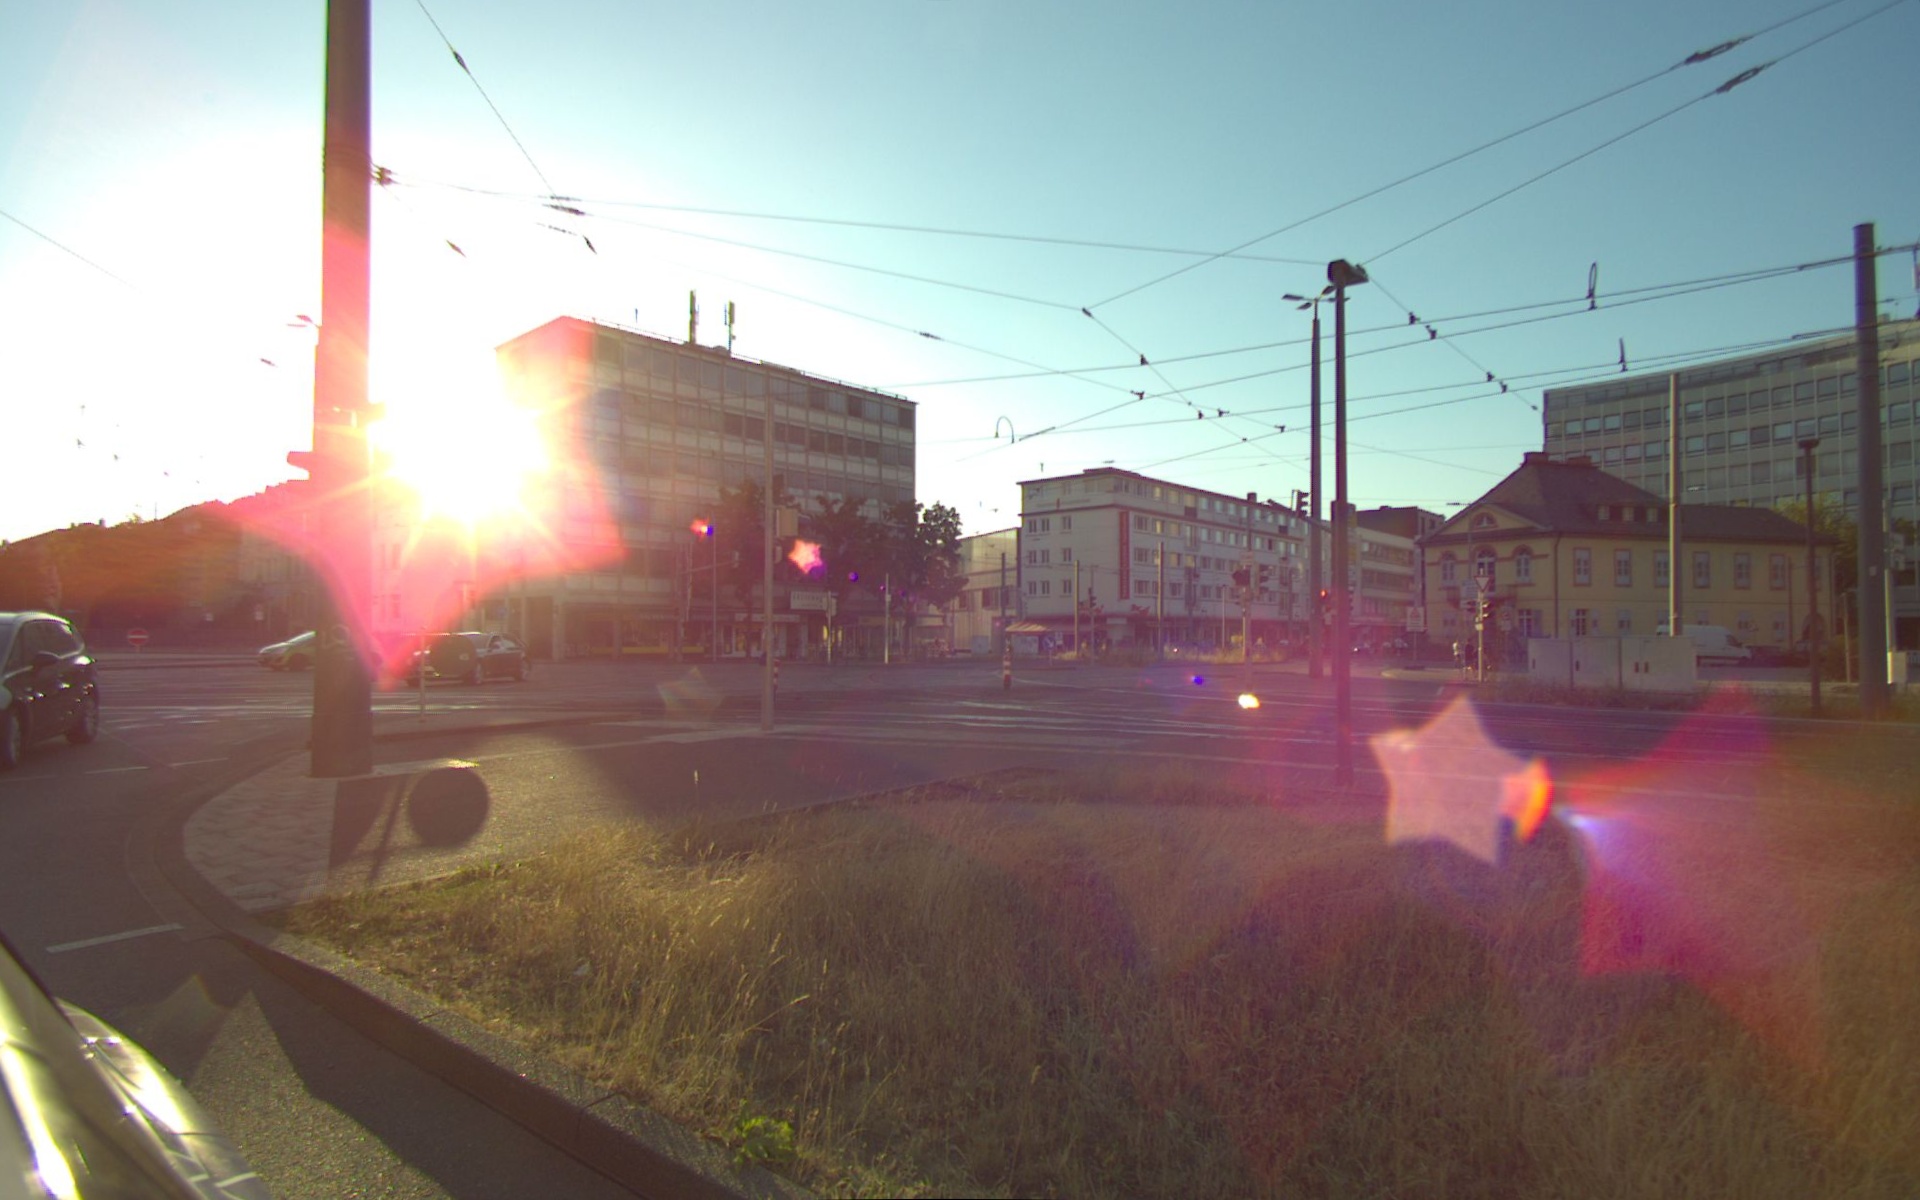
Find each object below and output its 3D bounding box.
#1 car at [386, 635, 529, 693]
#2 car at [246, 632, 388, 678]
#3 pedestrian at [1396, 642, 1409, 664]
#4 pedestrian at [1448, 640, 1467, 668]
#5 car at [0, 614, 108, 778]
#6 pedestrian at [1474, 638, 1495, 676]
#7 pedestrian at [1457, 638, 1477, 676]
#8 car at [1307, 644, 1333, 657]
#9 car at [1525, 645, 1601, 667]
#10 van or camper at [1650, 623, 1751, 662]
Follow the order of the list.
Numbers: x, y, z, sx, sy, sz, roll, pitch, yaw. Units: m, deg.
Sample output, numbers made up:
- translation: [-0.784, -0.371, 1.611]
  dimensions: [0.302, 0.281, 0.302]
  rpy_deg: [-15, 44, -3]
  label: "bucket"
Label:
- translation: [-13.317, 1.674, 27.118]
  dimensions: [1.825, 1.419, 4.226]
  rpy_deg: [0, -3, -2]
  label: "car"
- translation: [-23.194, 1.967, 36.643]
  dimensions: [1.745, 1.578, 3.977]
  rpy_deg: [-2, -3, 34]
  label: "car"
- translation: [30.417, 3.628, 69.588]
  dimensions: [0.590, 1.522, 0.645]
  rpy_deg: [-3, -5, 44]
  label: "pedestrian"
- translation: [24.758, 2.676, 50.346]
  dimensions: [0.581, 1.351, 0.656]
  rpy_deg: [0, -1, -8]
  label: "pedestrian"
- translation: [-10.987, 0.998, 10.924]
  dimensions: [1.770, 1.631, 4.400]
  rpy_deg: [1, -3, -27]
  label: "car"
- translation: [20.941, 2.275, 40.413]
  dimensions: [0.590, 1.522, 0.646]
  rpy_deg: [-2, -4, 42]
  label: "pedestrian"
- translation: [20.568, 2.303, 41.055]
  dimensions: [0.590, 1.522, 0.646]
  rpy_deg: [-2, -4, 42]
  label: "pedestrian"
- translation: [37.580, 5.263, 105.608]
  dimensions: [1.565, 1.286, 3.379]
  rpy_deg: [-2, -3, 38]
  label: "car"
- translation: [35.433, 3.283, 59.524]
  dimensions: [3.528, 1.286, 1.857]
  rpy_deg: [1, -3, -14]
  label: "car"
- translation: [45.505, 2.610, 62.216]
  dimensions: [5.033, 2.319, 2.004]
  rpy_deg: [0, -2, -10]
  label: "van or camper"
